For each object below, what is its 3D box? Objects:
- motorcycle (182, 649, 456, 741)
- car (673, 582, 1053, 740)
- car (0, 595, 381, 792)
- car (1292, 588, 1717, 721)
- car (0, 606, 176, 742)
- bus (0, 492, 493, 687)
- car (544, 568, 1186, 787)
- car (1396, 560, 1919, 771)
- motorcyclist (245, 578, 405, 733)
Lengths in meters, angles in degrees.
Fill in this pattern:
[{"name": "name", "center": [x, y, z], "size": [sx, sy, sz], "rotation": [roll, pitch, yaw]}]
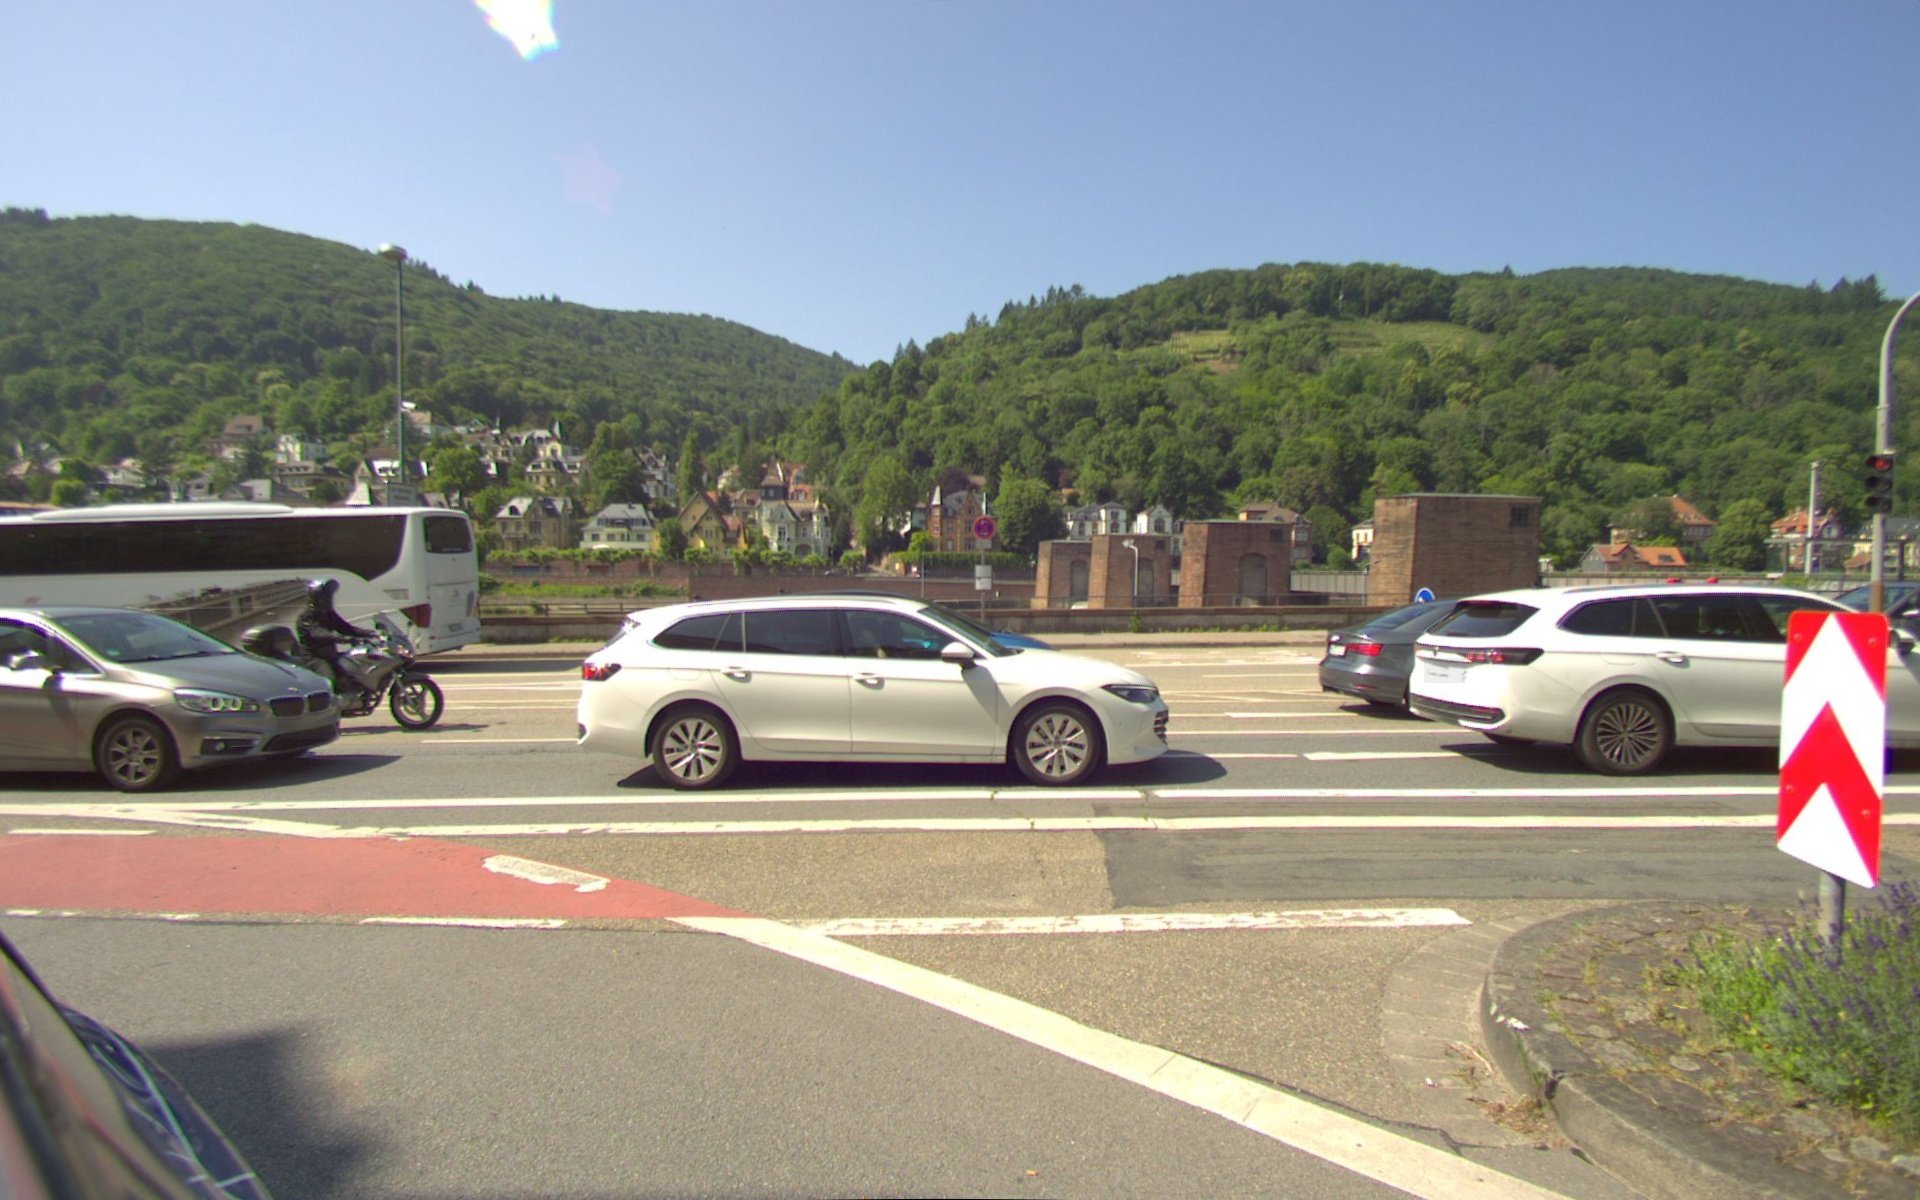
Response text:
[{"name": "motorcycle", "center": [-7.366, 1.077, 11.719], "size": [2.571, 0.926, 1.040], "rotation": [-1, 0, 5]}, {"name": "car", "center": [-0.996, 0.642, 11.479], "size": [3.947, 1.574, 1.871], "rotation": [-1, 0, 3]}, {"name": "car", "center": [-7.837, 0.761, 9.092], "size": [4.250, 1.532, 1.892], "rotation": [-1, 1, 5]}, {"name": "car", "center": [6.222, 0.601, 11.957], "size": [3.946, 1.369, 1.871], "rotation": [-1, 0, 2]}, {"name": "car", "center": [-12.605, 0.872, 12.820], "size": [4.100, 1.525, 1.872], "rotation": [0, 1, 7]}, {"name": "bus", "center": [-17.704, -0.254, 22.584], "size": [13.057, 3.828, 2.967], "rotation": [-1, 4, 0]}, {"name": "car", "center": [-0.712, 0.596, 8.541], "size": [4.795, 1.545, 1.998], "rotation": [-1, 0, 4]}, {"name": "car", "center": [6.369, 0.485, 8.396], "size": [4.672, 1.544, 1.790], "rotation": [-1, 0, 2]}, {"name": "motorcyclist", "center": [-7.311, 0.616, 11.715], "size": [1.141, 1.697, 1.078], "rotation": [-1, 0, 4]}]
